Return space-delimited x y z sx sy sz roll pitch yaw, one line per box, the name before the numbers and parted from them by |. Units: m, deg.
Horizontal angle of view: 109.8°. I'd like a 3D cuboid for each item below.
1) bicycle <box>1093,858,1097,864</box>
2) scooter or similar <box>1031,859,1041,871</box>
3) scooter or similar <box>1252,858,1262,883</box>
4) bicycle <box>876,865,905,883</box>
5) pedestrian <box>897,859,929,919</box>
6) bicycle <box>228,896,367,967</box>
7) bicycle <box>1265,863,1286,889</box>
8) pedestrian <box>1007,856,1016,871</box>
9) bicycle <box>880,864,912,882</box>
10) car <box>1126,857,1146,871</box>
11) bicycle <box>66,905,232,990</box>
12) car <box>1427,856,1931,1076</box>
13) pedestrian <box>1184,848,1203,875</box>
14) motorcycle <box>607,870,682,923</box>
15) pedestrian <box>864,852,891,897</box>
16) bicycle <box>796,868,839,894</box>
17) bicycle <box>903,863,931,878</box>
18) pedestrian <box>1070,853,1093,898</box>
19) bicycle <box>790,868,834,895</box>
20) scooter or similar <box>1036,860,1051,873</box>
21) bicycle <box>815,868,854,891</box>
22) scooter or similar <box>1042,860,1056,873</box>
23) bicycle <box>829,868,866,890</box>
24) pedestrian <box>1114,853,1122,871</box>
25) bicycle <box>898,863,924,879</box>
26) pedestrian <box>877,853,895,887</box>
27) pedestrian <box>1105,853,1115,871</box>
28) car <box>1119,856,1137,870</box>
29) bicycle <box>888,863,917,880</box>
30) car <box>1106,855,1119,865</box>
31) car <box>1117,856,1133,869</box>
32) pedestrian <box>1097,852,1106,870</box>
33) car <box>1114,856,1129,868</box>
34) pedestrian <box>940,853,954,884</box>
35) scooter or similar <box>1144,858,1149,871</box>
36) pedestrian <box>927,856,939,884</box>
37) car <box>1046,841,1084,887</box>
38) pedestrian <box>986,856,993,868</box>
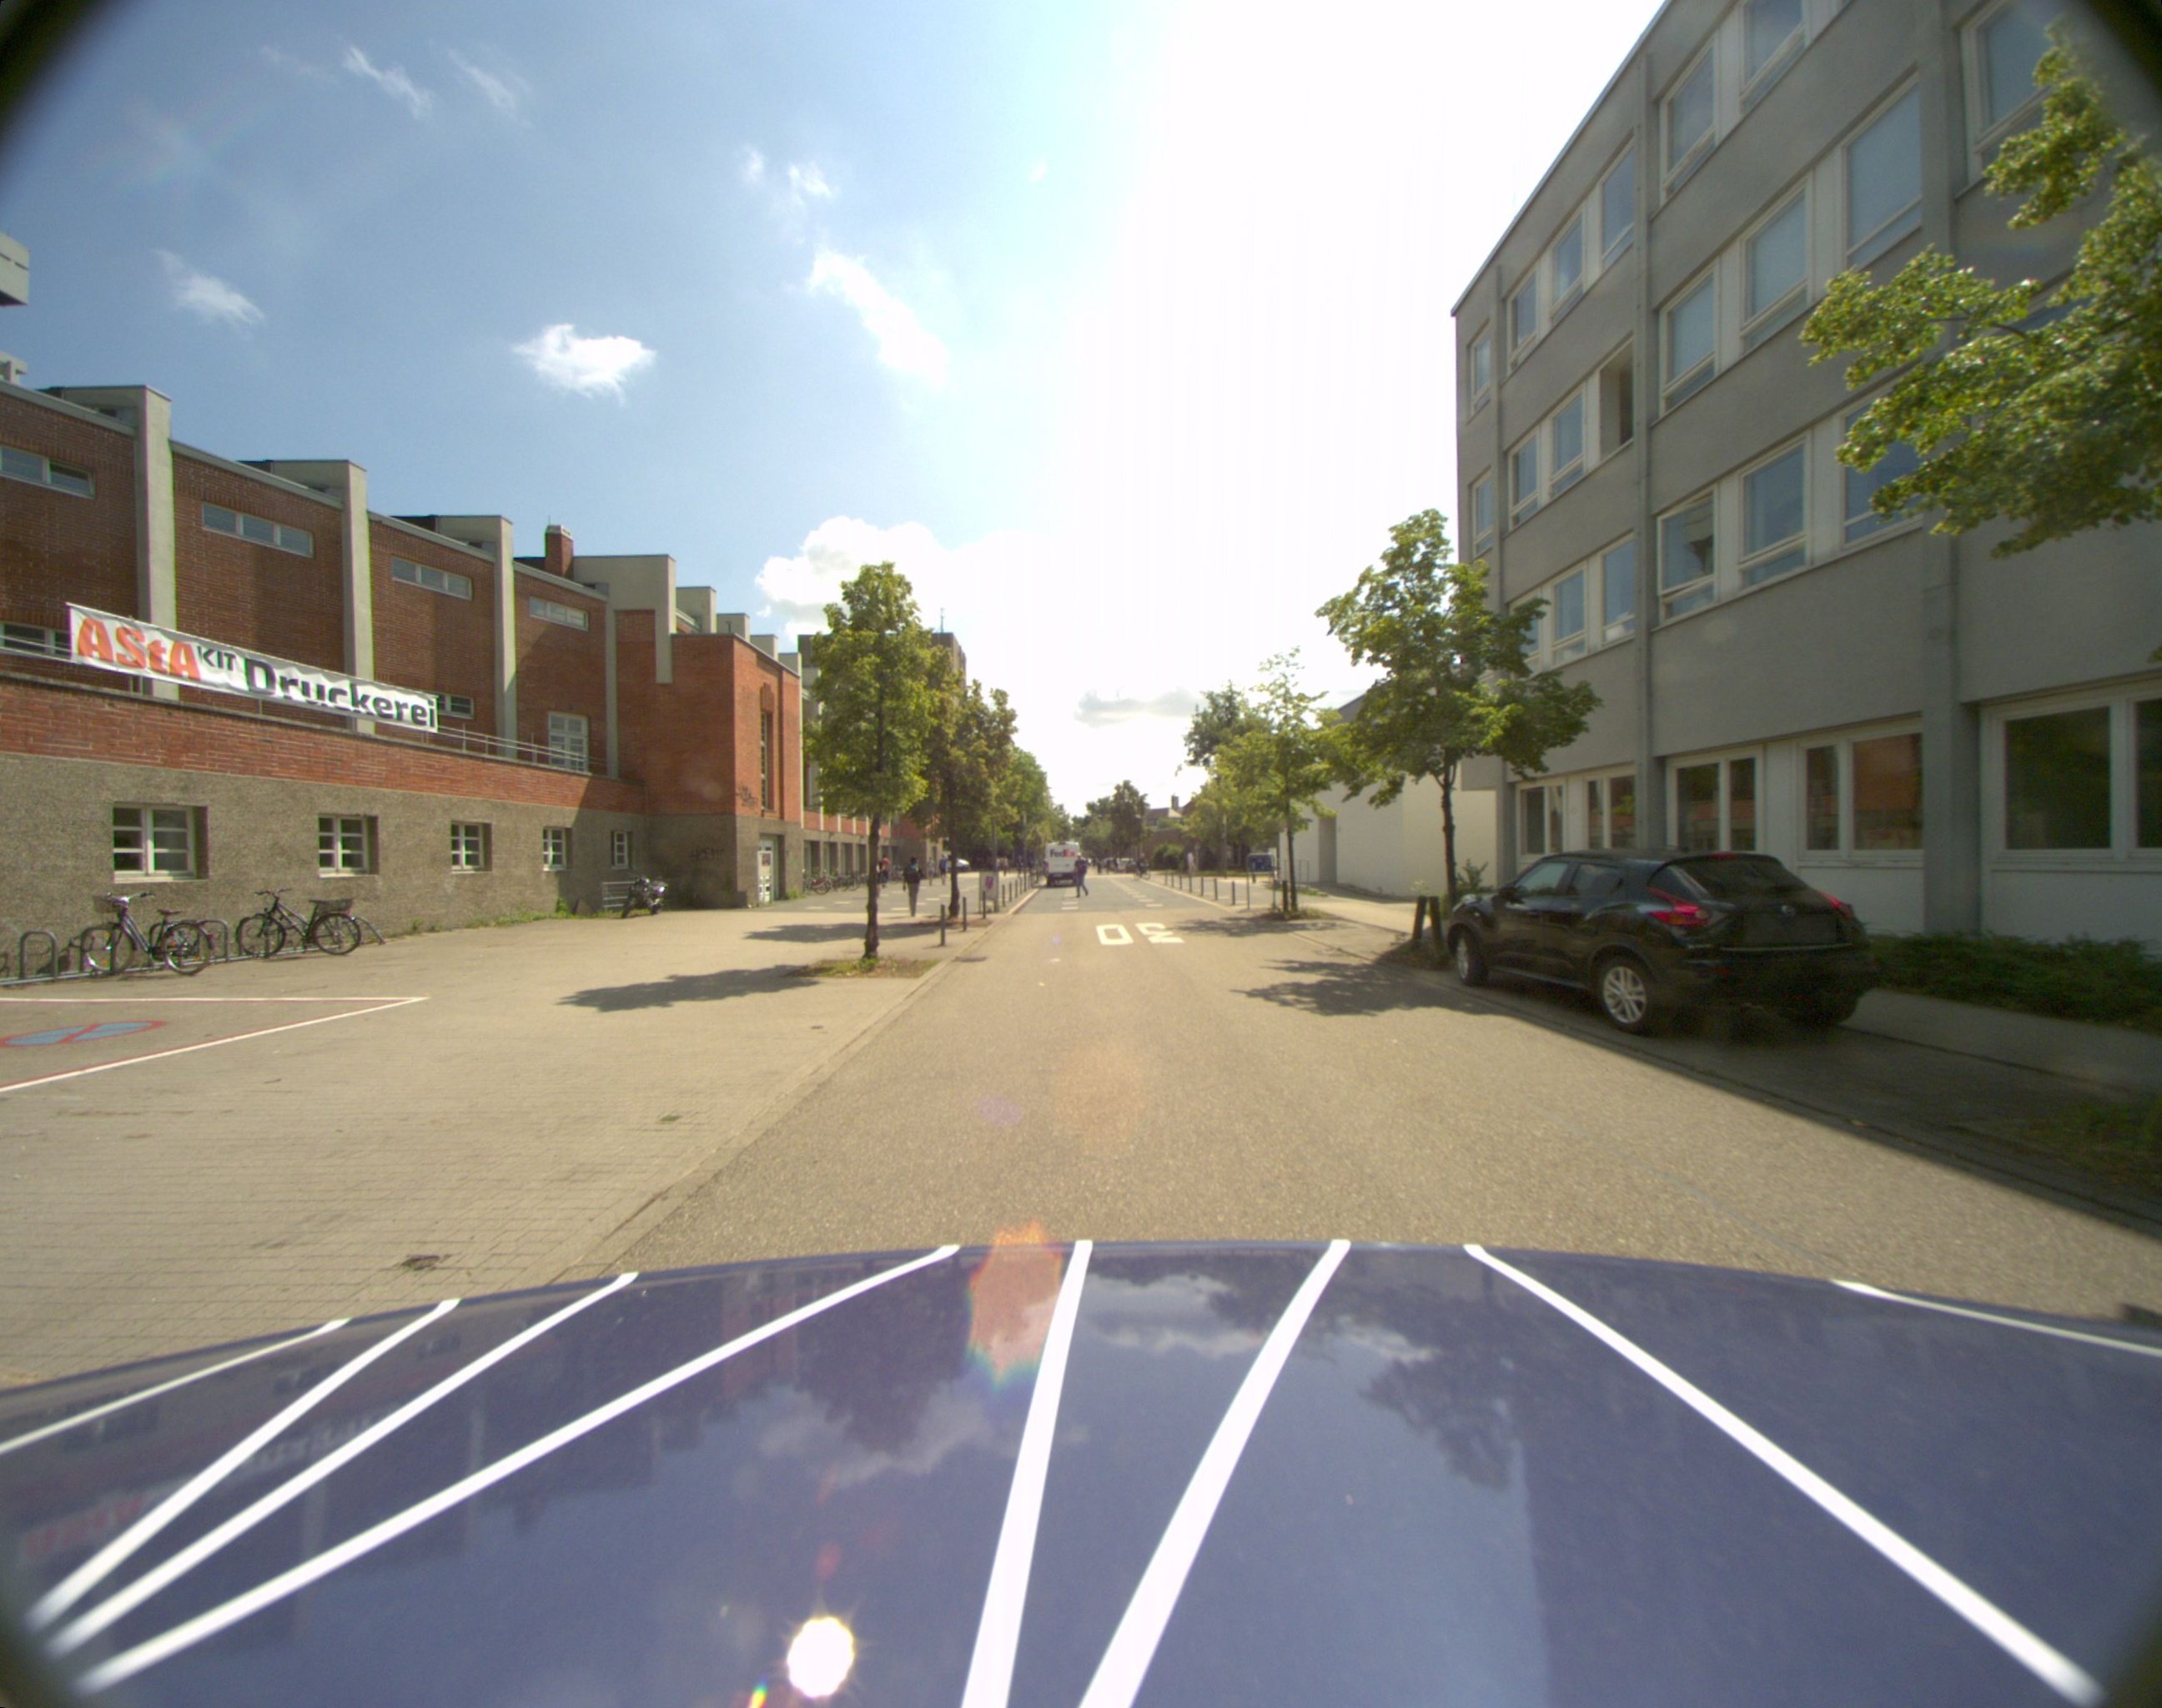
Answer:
bicycle | 2.380 1.184 129.932 0.626 1.134 1.812 -1 0 -2
scooter or similar | -4.498 1.112 75.799 0.575 1.172 1.479 0 0 13
scooter or similar | 9.136 0.859 39.523 0.483 1.255 1.314 -1 0 12
bicycle | -11.957 1.226 47.684 1.687 1.103 0.435 -1 0 -2
pedestrian | -4.808 0.987 21.763 0.643 1.687 0.792 -1 1 4
bicycle | -12.908 1.269 12.535 1.810 1.103 0.448 -1 1 0
bicycle | 8.282 0.908 32.399 0.544 1.055 1.900 -1 0 5
pedestrian | -7.831 1.037 85.400 0.785 1.666 1.077 -1 1 -15
bicycle | -12.023 1.217 49.358 1.916 1.103 0.435 -1 0 -2
car | 5.410 0.957 74.981 1.701 1.287 3.762 -1 0 0
bicycle | -12.822 1.277 10.477 1.706 1.103 0.448 -1 1 0
car | 5.268 0.811 7.535 1.701 1.555 4.067 -1 0 -2
pedestrian | 7.862 0.538 53.228 1.022 1.837 0.918 1 0 30
motorcycle | -12.010 1.134 20.998 0.697 1.315 2.220 -1 0 2
pedestrian | -8.426 0.835 31.496 0.846 1.823 1.197 -1 0 -6
bicycle | -11.986 1.240 34.535 1.758 1.143 0.517 -1 0 -2
bicycle | -11.962 1.209 55.302 1.935 1.103 0.456 -1 0 -2
pedestrian | 0.014 0.879 31.758 0.826 1.807 1.144 -1 0 -6
bicycle | -11.878 1.224 33.609 1.758 1.143 0.435 -1 0 -2
scooter or similar | -3.630 1.213 73.586 1.352 1.223 0.577 -1 0 34
bicycle | -11.996 1.240 36.976 1.752 1.103 0.435 -1 0 -2
scooter or similar | -3.191 1.229 75.131 1.261 1.225 0.577 -1 0 34
bicycle | -11.792 1.259 38.354 1.687 1.103 0.435 -1 0 -2
pedestrian | 3.620 0.780 75.102 0.558 1.706 0.972 -1 1 -12
bicycle | -11.944 1.221 53.496 1.699 1.103 0.435 -1 0 -2
pedestrian | -10.632 0.878 41.387 0.664 1.823 0.906 -1 0 4
pedestrian | 2.834 0.760 74.854 0.727 1.776 0.899 -1 1 -15
car | 5.019 0.929 81.469 1.635 1.422 3.632 -1 0 -1
bicycle | -12.008 1.203 51.171 1.801 1.103 0.435 -1 0 -2
car | 5.026 0.990 122.581 1.932 1.624 4.372 -1 0 0
car | 5.022 0.983 87.116 1.648 1.368 4.000 -1 0 0
pedestrian | 1.991 0.705 74.171 0.622 1.706 1.004 0 0 -13
car | 5.109 0.972 95.481 1.718 1.424 4.000 -1 0 0
pedestrian | -8.208 0.862 46.560 0.665 1.879 1.110 0 1 0
scooter or similar | 6.151 0.965 71.140 0.470 1.209 1.205 -1 0 5
pedestrian | -9.059 0.955 46.575 0.586 1.697 1.001 0 1 -4
car | -0.989 0.534 45.148 2.065 2.528 5.848 -1 0 -2
pedestrian | -11.853 1.038 98.604 0.752 1.663 0.844 0 0 -23
